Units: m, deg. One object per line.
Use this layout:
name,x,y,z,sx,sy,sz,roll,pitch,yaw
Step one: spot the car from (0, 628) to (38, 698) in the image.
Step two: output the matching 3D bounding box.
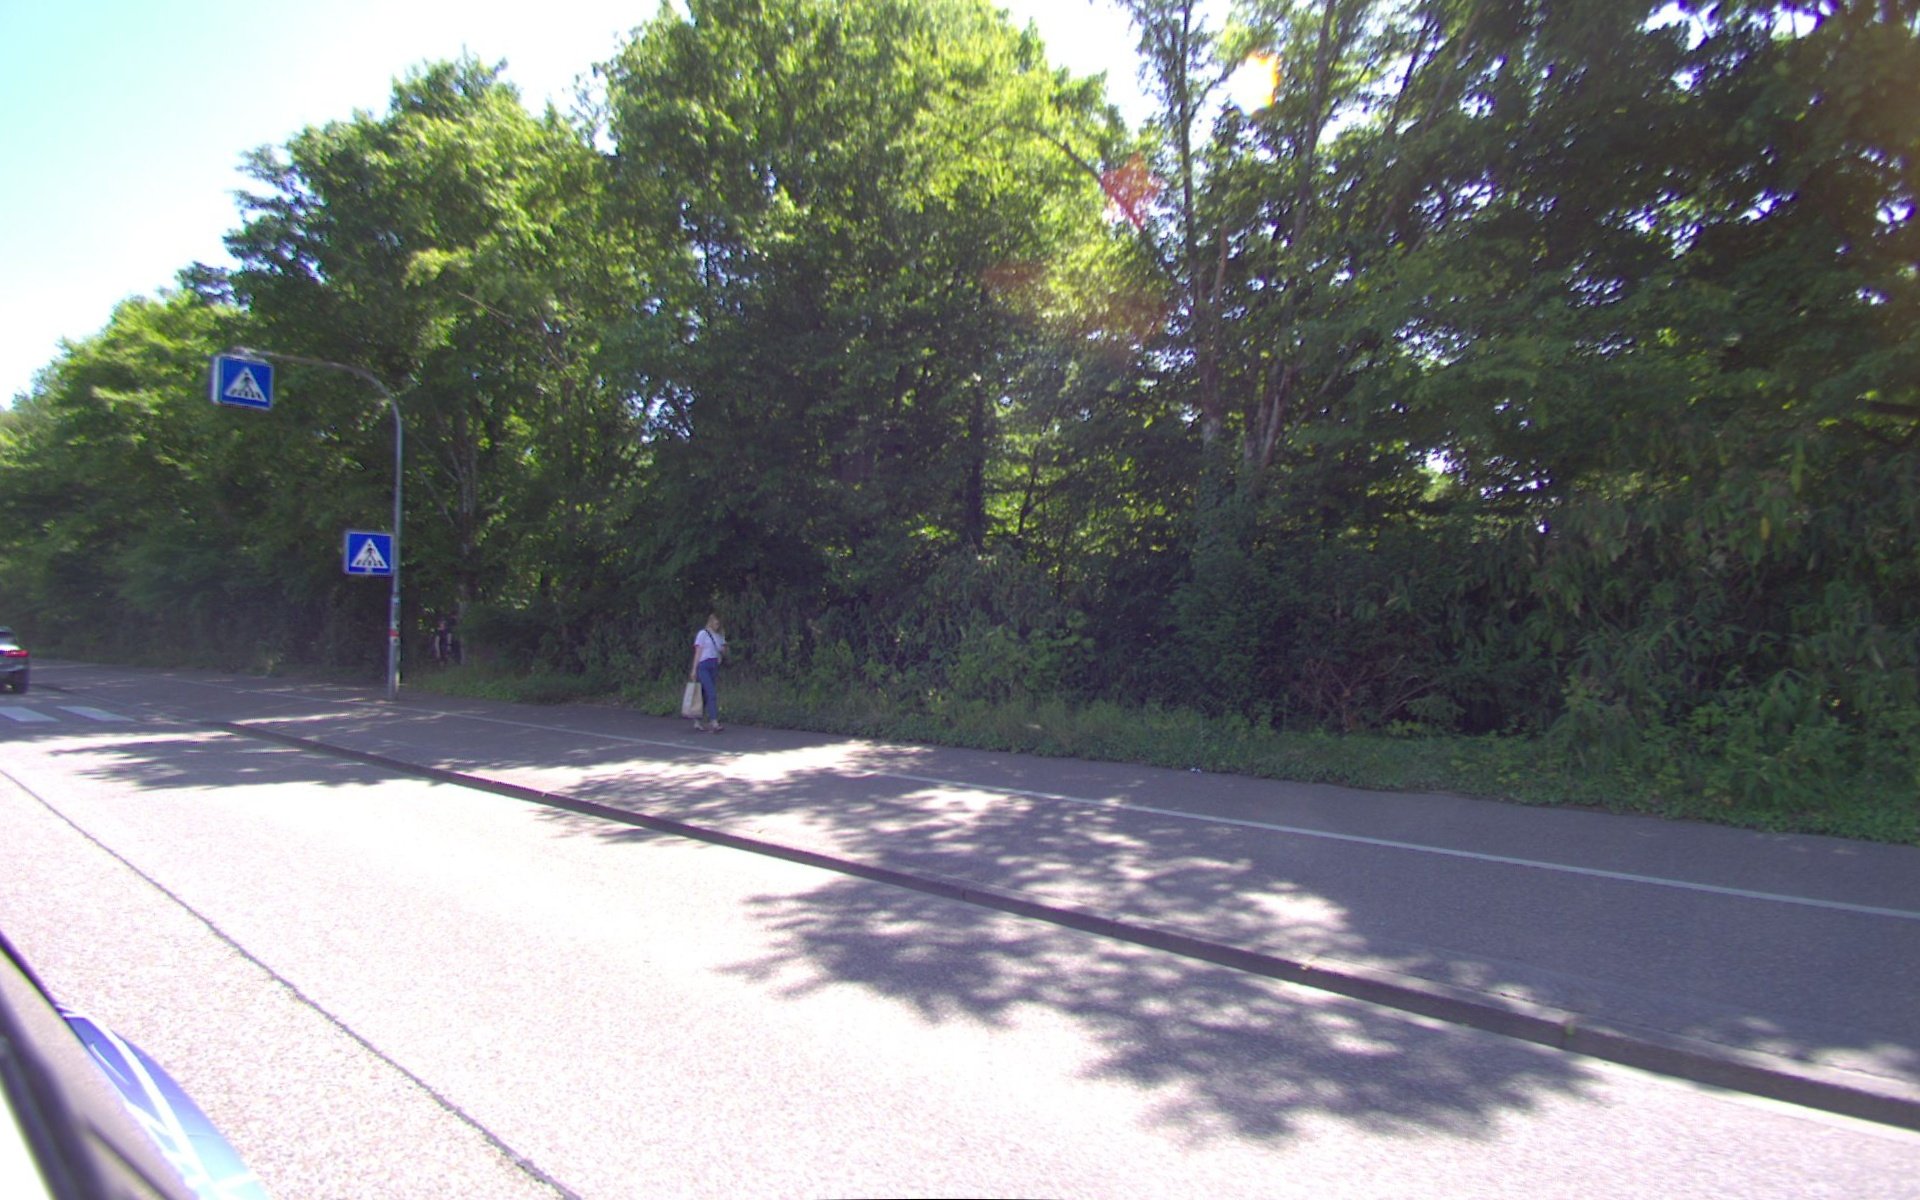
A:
car,-23.234,1.412,23.588,4.192,1.544,1.872,-1,-5,39

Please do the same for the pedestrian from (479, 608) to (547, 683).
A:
pedestrian,-10.961,1.109,24.834,1.021,1.765,1.144,-4,-2,36

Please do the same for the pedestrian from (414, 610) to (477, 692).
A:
pedestrian,-12.180,1.184,23.976,0.781,1.879,1.074,-1,-2,32

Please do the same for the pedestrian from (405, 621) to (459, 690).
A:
pedestrian,-12.740,1.318,24.435,0.778,1.623,0.886,-1,-2,32

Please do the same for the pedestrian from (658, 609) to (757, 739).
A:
pedestrian,-3.315,0.933,13.296,0.885,1.625,0.923,-1,-1,39
